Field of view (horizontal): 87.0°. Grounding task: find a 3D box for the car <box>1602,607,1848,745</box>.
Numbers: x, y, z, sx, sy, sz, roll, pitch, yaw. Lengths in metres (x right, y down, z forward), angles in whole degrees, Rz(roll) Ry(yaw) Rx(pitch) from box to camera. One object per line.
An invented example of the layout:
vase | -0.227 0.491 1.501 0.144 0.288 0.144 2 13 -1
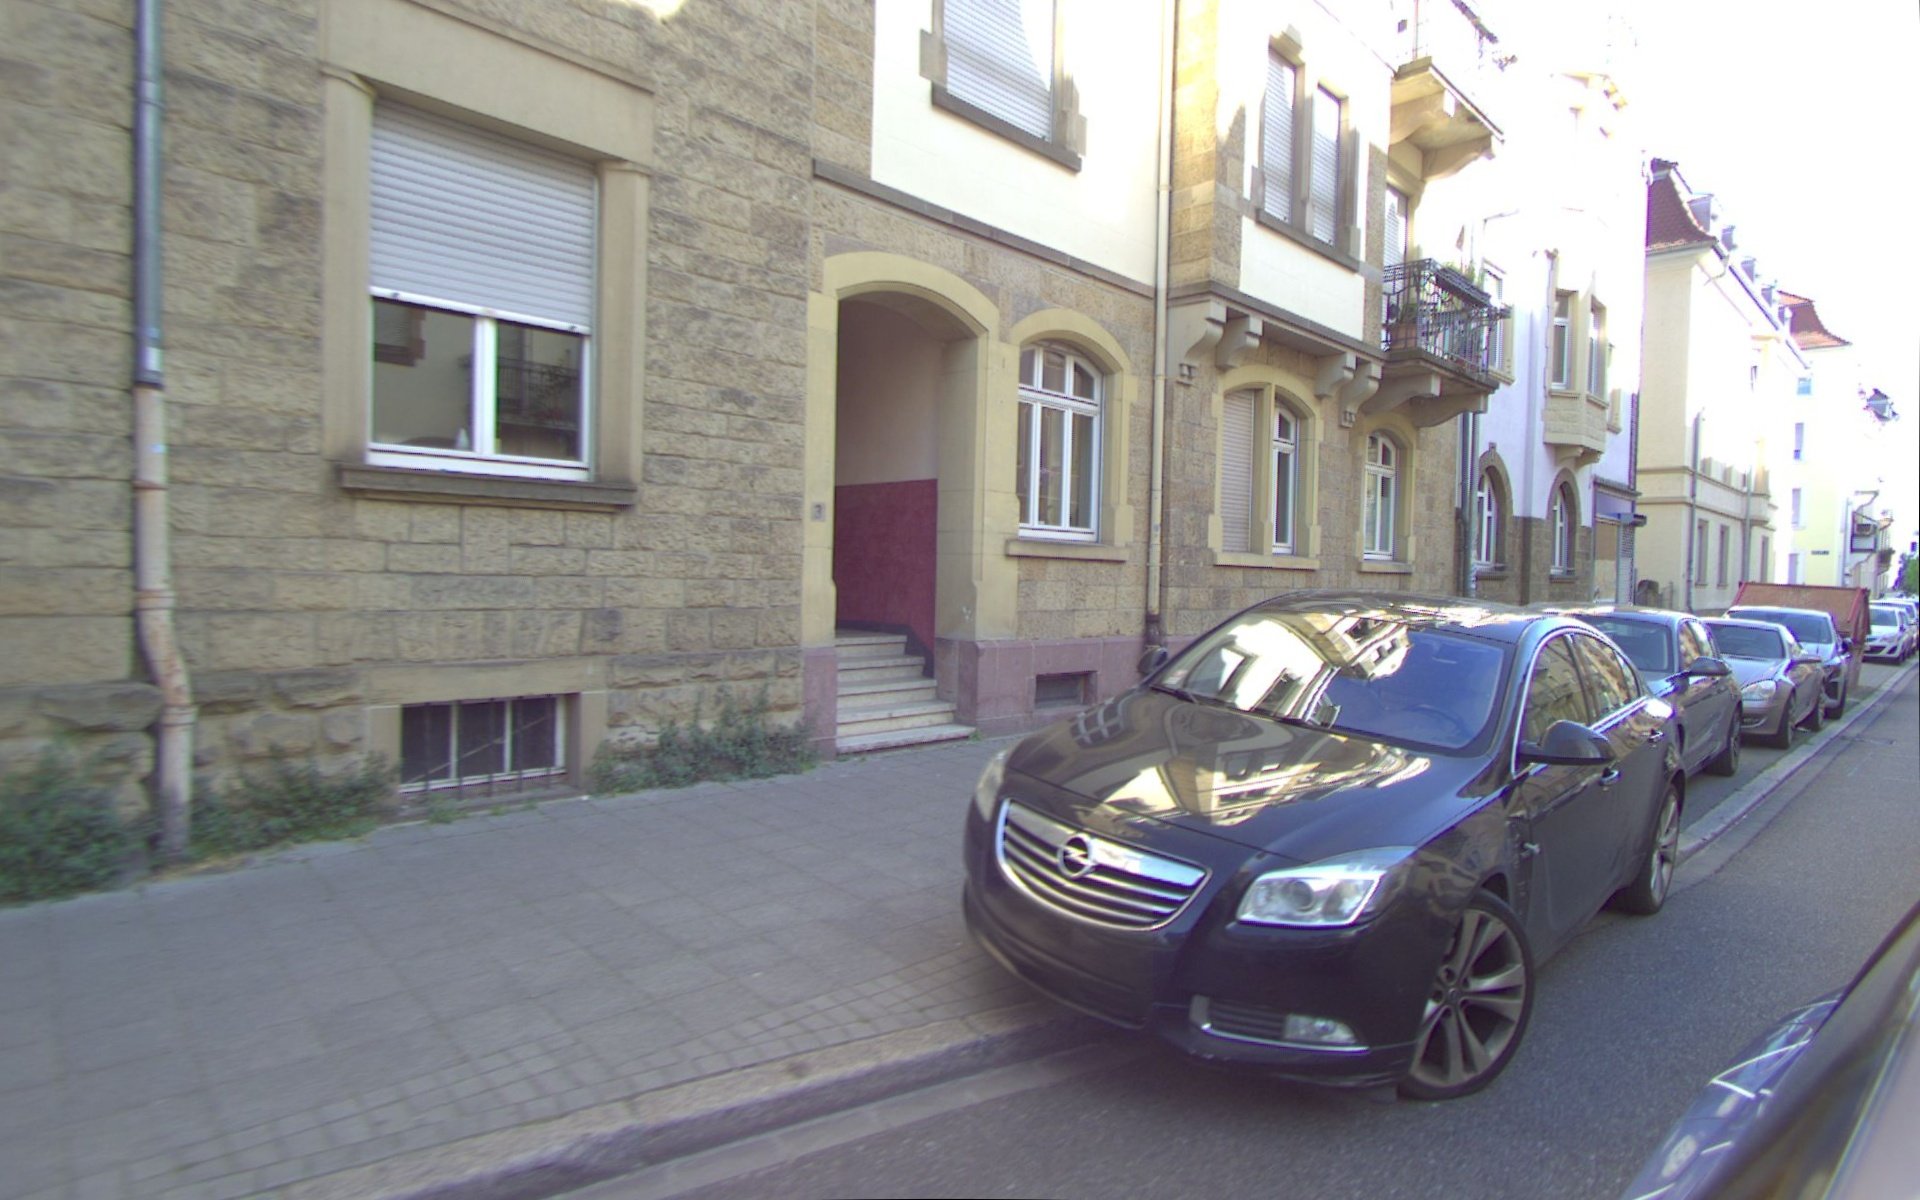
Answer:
car | 9.206 0.771 12.066 3.875 1.270 1.695 0 3 -44

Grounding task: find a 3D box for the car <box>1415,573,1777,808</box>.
car | 5.535 0.562 8.565 4.189 1.460 1.653 0 3 -45

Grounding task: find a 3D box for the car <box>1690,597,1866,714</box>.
car | 12.250 0.710 15.074 1.786 1.447 3.749 3 2 43

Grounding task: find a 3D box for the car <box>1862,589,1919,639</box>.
car | 32.389 0.473 34.744 3.847 1.565 1.683 0 3 -42

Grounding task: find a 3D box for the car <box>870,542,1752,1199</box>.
car | 1.869 0.581 4.370 4.268 1.480 1.867 0 2 -44

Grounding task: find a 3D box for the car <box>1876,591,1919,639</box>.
car | 35.618 0.534 37.669 4.358 1.685 1.789 0 2 -42

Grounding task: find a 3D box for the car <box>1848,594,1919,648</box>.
car | 28.132 0.587 30.553 4.027 1.482 1.654 0 2 -44

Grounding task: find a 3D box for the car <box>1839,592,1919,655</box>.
car | 24.436 0.579 26.748 1.587 1.482 3.652 3 2 44
